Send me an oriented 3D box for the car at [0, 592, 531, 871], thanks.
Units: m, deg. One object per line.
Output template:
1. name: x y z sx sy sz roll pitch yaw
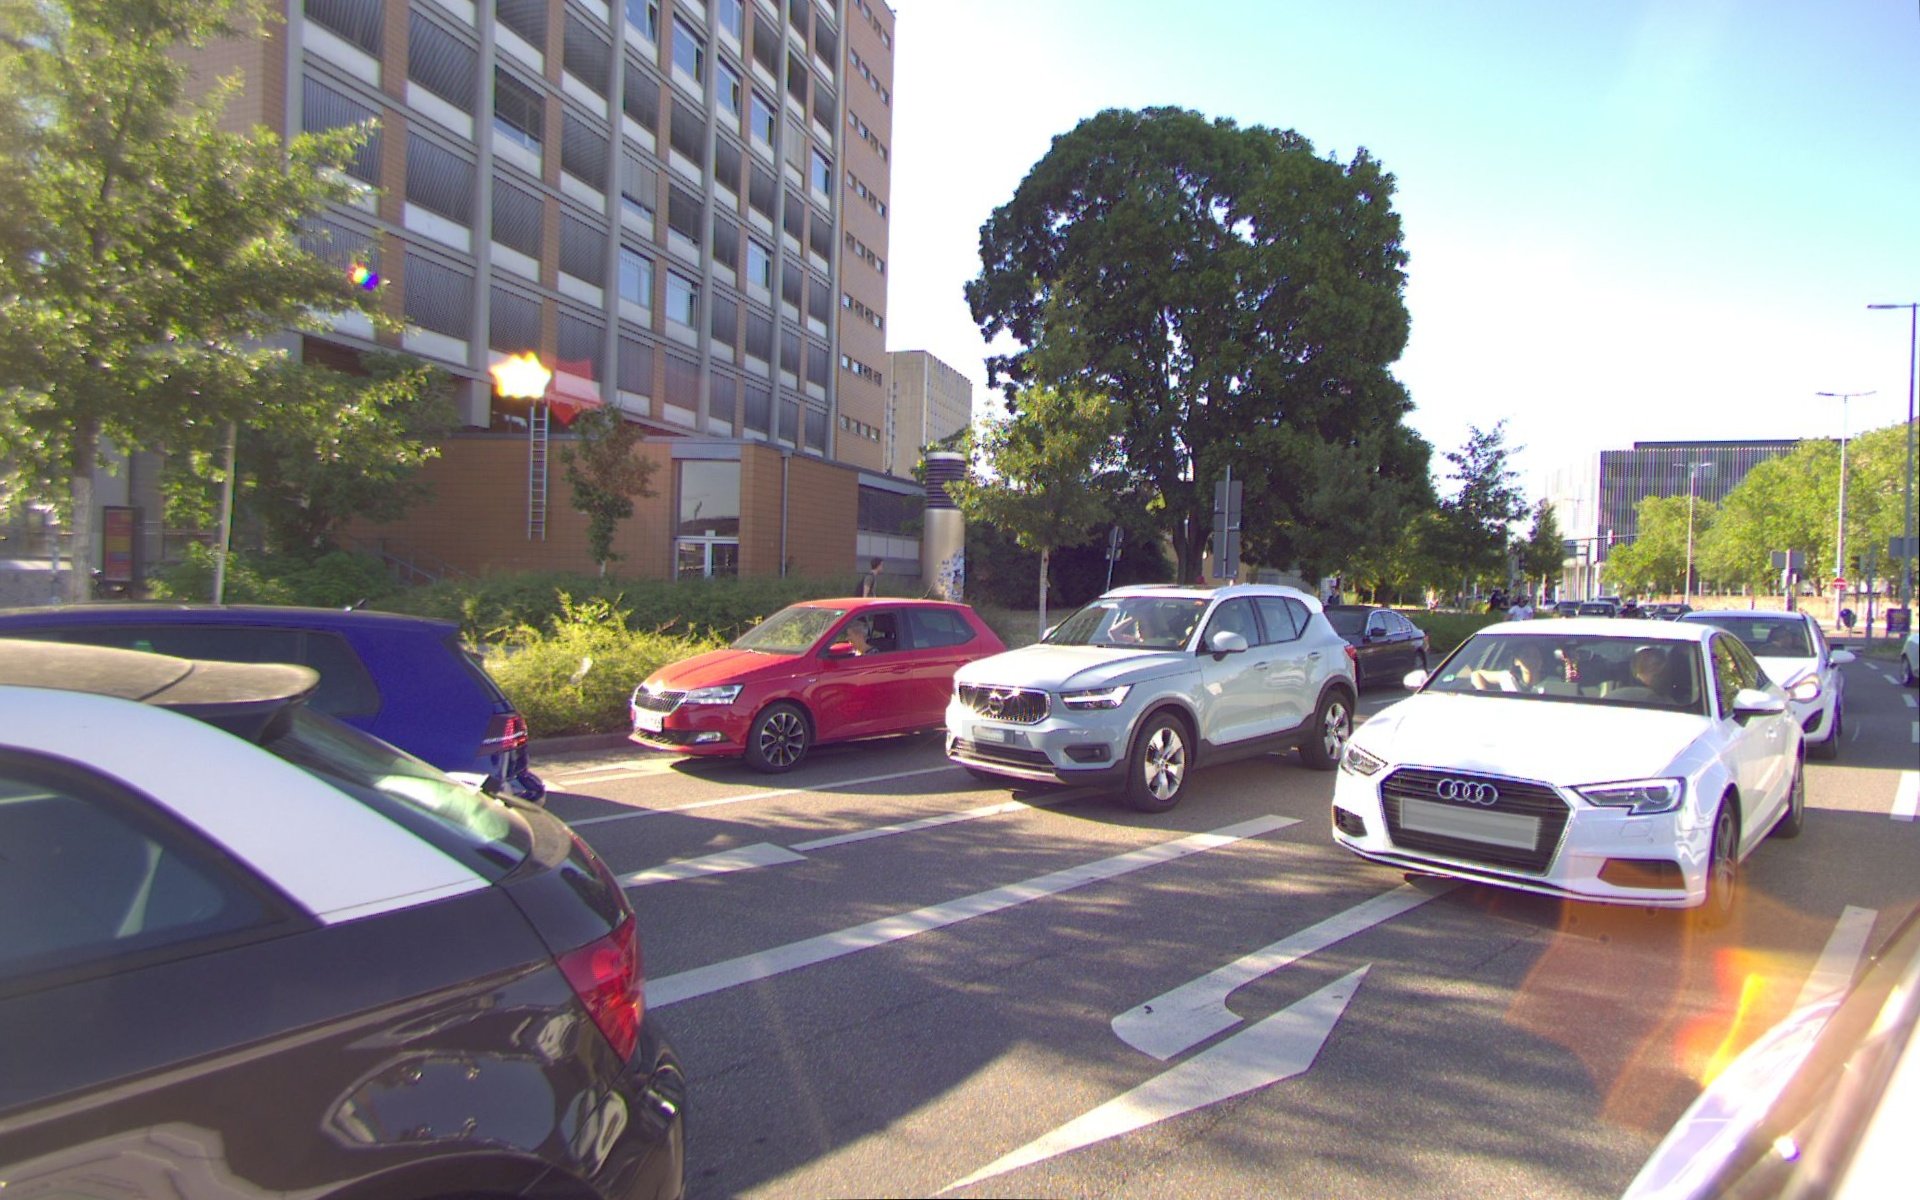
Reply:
1. car: -5.169 0.673 6.133 4.433 1.422 1.726 -1 0 -41

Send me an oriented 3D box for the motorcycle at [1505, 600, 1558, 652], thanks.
1. motorcycle: 15.366 0.663 27.184 0.716 1.321 2.199 0 0 44

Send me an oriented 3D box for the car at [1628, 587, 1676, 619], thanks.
1. car: 40.036 0.146 58.652 1.730 1.727 3.962 2 1 27

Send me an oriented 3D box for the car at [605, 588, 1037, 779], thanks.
1. car: -1.188 0.633 9.840 3.974 1.478 1.625 -1 0 -43

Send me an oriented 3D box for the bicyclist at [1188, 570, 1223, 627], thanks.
1. bicyclist: 6.900 -0.052 28.467 0.615 1.580 0.858 0 0 42

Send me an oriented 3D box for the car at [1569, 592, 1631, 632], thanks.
1. car: 26.728 0.470 42.215 1.738 1.544 3.943 2 2 39

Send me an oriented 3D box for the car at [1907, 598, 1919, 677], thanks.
1. car: 18.153 0.731 17.498 1.742 1.478 4.143 0 0 31

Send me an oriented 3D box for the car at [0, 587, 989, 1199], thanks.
1. car: -1.952 0.701 1.344 3.930 1.422 1.626 -1 0 -41

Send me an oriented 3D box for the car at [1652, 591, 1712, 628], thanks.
1. car: 32.982 0.395 46.313 1.731 1.564 3.960 2 1 29

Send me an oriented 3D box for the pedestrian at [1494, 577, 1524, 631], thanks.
1. pedestrian: 21.238 0.155 39.133 0.891 2.039 0.870 0 0 39

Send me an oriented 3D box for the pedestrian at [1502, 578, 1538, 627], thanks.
1. pedestrian: 23.788 0.105 43.009 1.137 2.039 1.268 0 0 39

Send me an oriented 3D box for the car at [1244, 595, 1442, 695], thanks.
1. car: 6.675 0.673 17.414 1.750 1.478 4.123 0 1 43

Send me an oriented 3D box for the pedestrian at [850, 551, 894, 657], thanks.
1. pedestrian: -1.620 0.064 18.549 0.681 1.910 0.465 0 0 -24

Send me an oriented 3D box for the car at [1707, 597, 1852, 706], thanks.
1. car: 13.115 0.713 16.115 1.622 1.478 3.981 0 0 42

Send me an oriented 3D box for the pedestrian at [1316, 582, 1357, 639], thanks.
1. pedestrian: 11.802 0.309 31.729 1.005 1.742 0.873 0 0 39

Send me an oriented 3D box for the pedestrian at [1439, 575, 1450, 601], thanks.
1. pedestrian: 29.554 -0.733 61.767 0.543 1.627 0.598 0 0 30

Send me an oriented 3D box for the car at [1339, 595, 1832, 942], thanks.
1. car: 3.949 0.692 6.115 3.769 1.422 1.625 -1 0 -43

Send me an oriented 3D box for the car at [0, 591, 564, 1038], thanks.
1. car: -3.734 0.687 3.738 3.930 1.422 1.626 -1 0 -41

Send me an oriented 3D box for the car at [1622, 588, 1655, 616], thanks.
1. car: 48.171 0.126 71.835 1.867 1.838 3.950 2 1 35

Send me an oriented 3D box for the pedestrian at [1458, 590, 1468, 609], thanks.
1. pedestrian: 53.431 -0.032 107.476 0.828 2.039 1.061 0 0 19

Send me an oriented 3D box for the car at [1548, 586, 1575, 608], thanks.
1. car: 48.677 -0.254 81.986 1.731 1.727 3.959 2 1 29

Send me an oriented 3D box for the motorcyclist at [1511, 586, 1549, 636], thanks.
1. motorcyclist: 15.228 0.290 27.043 0.716 1.321 0.723 0 0 45

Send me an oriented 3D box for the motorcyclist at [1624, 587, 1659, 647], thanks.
1. motorcyclist: 18.586 0.445 27.605 0.708 1.610 0.680 0 0 40

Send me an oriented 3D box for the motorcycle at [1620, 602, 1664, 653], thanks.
1. motorcycle: 18.685 0.718 27.711 0.715 1.321 2.201 0 0 41

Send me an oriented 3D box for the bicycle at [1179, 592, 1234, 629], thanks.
1. bicycle: 6.989 0.278 28.599 0.657 0.975 2.005 2 2 41

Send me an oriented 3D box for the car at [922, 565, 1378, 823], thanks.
1. car: 1.777 0.572 8.455 4.153 1.641 1.625 -1 0 -43

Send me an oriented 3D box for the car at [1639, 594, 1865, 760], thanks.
1. car: 8.877 0.692 11.220 1.623 1.478 3.979 0 1 43

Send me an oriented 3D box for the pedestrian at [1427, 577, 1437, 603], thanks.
1. pedestrian: 28.975 -0.604 62.116 0.543 1.549 0.598 0 0 30

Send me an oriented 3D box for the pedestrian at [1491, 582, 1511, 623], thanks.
1. pedestrian: 21.492 0.080 40.182 0.593 1.615 0.586 0 0 41
